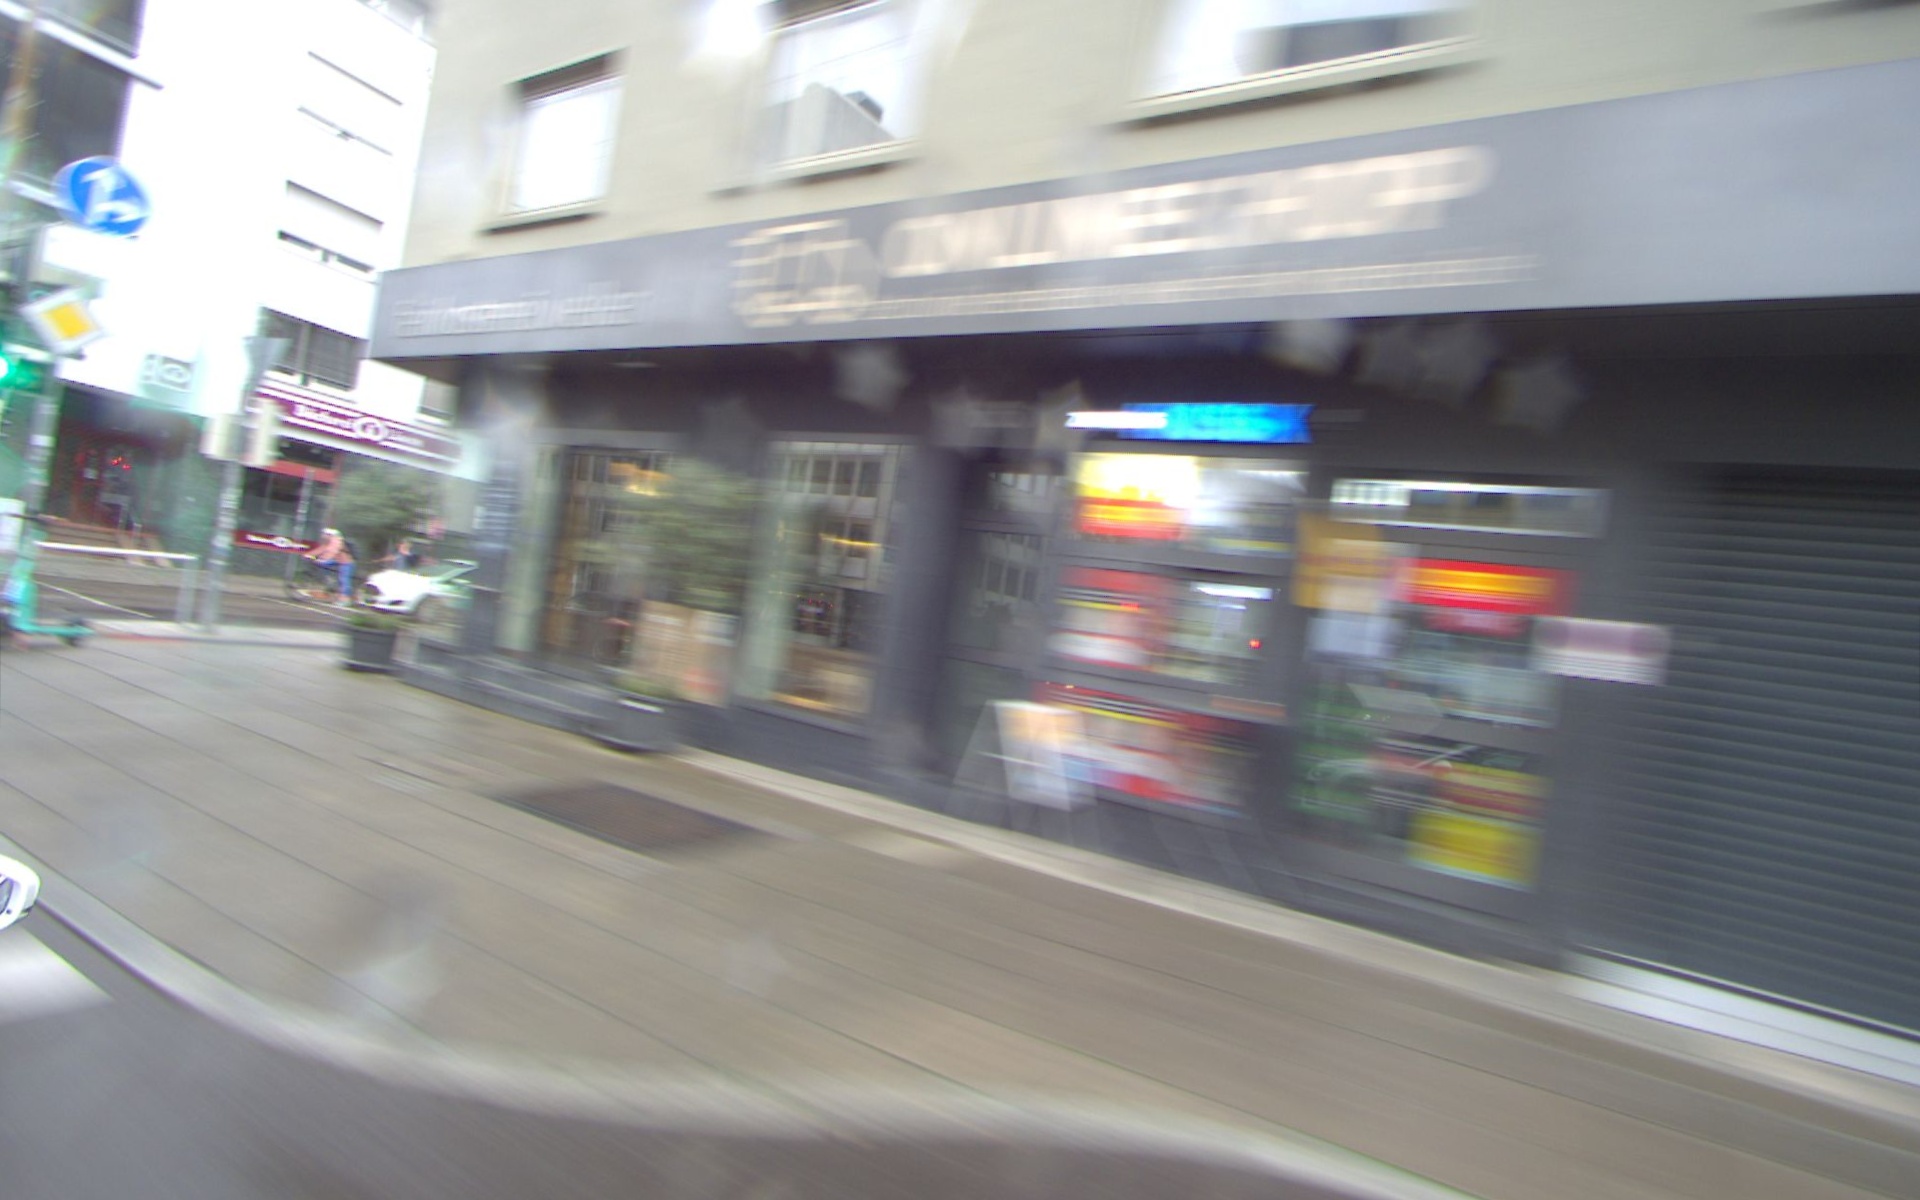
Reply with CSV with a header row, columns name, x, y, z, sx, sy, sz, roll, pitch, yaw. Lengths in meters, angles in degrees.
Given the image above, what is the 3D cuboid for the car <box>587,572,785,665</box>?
name,x,y,z,sx,sy,sz,roll,pitch,yaw
car,-5.794,0.465,21.746,1.693,1.504,3.976,8,-2,30

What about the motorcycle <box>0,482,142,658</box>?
name,x,y,z,sx,sy,sz,roll,pitch,yaw
motorcycle,-8.372,-0.271,9.224,0.672,1.478,1.132,8,-1,-5

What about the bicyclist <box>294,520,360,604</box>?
name,x,y,z,sx,sy,sz,roll,pitch,yaw
bicyclist,-14.565,-0.865,23.162,0.744,1.767,0.842,8,0,29

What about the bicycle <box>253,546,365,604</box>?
name,x,y,z,sx,sy,sz,roll,pitch,yaw
bicycle,-14.752,-0.554,22.859,0.743,1.022,1.930,8,-1,29

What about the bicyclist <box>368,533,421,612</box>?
name,x,y,z,sx,sy,sz,roll,pitch,yaw
bicyclist,-13.917,-0.677,24.756,0.744,1.812,0.635,8,0,29

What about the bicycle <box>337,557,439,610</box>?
name,x,y,z,sx,sy,sz,roll,pitch,yaw
bicycle,-13.995,-0.382,24.690,0.743,1.022,1.985,8,-1,29

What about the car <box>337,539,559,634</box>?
name,x,y,z,sx,sy,sz,roll,pitch,yaw
car,-11.160,-0.231,22.209,1.693,1.504,3.976,8,-2,30
